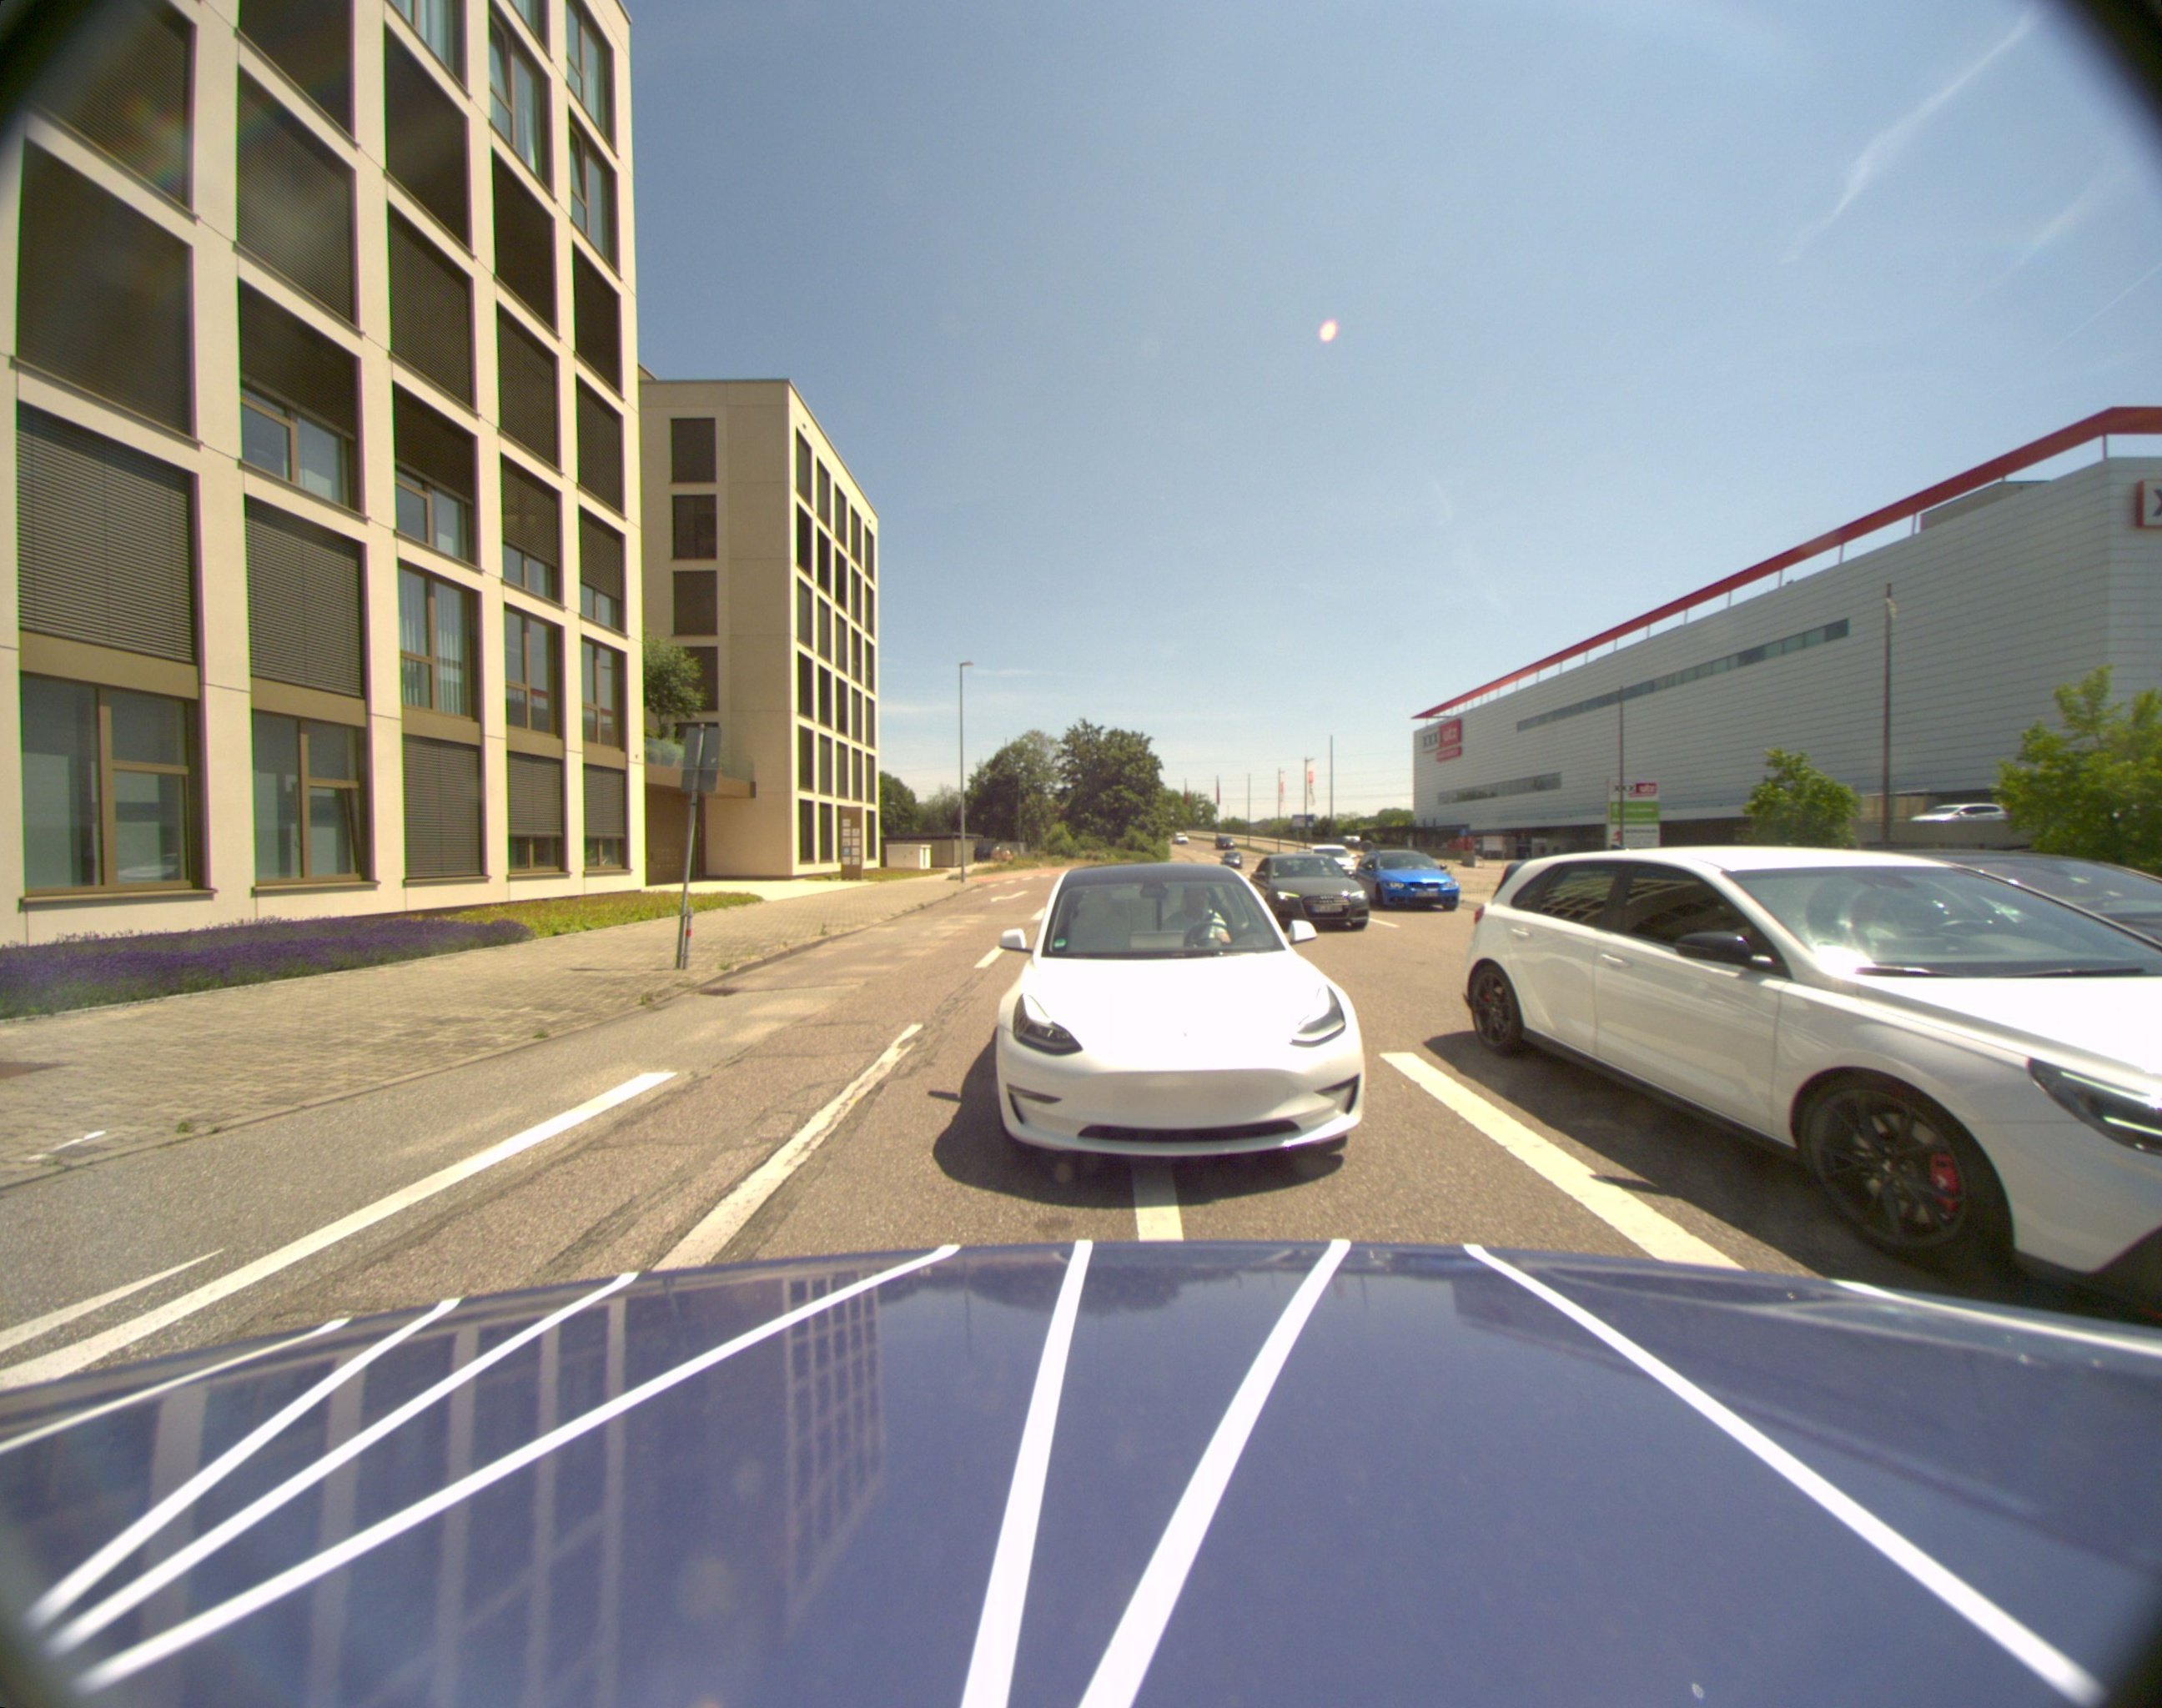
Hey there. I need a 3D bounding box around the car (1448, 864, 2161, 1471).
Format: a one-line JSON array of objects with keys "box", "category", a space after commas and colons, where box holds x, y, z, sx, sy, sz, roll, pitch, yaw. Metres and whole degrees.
[{"box": [3.644, 0.830, 3.663, 1.735, 1.441, 4.230, -2, 0, 1], "category": "car"}]

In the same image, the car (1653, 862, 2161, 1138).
[{"box": [6.605, 0.785, 5.430, 1.752, 1.382, 4.534, -1, 0, 3], "category": "car"}]

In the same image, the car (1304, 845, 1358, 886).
[{"box": [10.087, 0.414, 30.907, 1.677, 1.566, 4.060, -1, 1, 13], "category": "car"}]

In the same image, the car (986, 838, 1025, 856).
[{"box": [-8.576, -0.774, 86.087, 4.005, 1.942, 1.996, 0, 1, -24], "category": "car"}]

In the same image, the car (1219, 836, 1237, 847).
[{"box": [22.245, -1.884, 114.944, 1.998, 1.347, 4.366, -1, 3, 1], "category": "car"}]

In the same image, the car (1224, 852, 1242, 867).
[{"box": [12.645, 0.458, 63.088, 1.473, 1.182, 3.356, 0, 0, 12], "category": "car"}]

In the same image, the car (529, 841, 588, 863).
[{"box": [-46.491, -0.196, 67.702, 1.997, 1.841, 4.003, 0, 1, 10], "category": "car"}]

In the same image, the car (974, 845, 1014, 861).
[{"box": [-9.415, -0.166, 82.081, 4.005, 1.652, 1.834, 0, 1, -23], "category": "car"}]

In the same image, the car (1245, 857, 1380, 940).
[{"box": [4.463, 0.779, 15.308, 1.801, 1.369, 4.408, -1, 0, 6], "category": "car"}]

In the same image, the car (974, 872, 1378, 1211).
[{"box": [0.407, 0.935, 5.799, 1.880, 1.417, 4.405, -2, 0, -1], "category": "car"}]

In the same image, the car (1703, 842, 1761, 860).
[{"box": [61.150, -0.275, 71.414, 3.746, 1.611, 1.912, 0, 1, 1], "category": "car"}]

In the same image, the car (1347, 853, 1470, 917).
[{"box": [8.146, 0.688, 19.324, 1.800, 1.405, 4.409, 0, 1, 9], "category": "car"}]

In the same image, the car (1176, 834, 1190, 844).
[{"box": [17.174, -2.564, 128.591, 1.798, 1.454, 3.998, -3, 3, 1], "category": "car"}]
